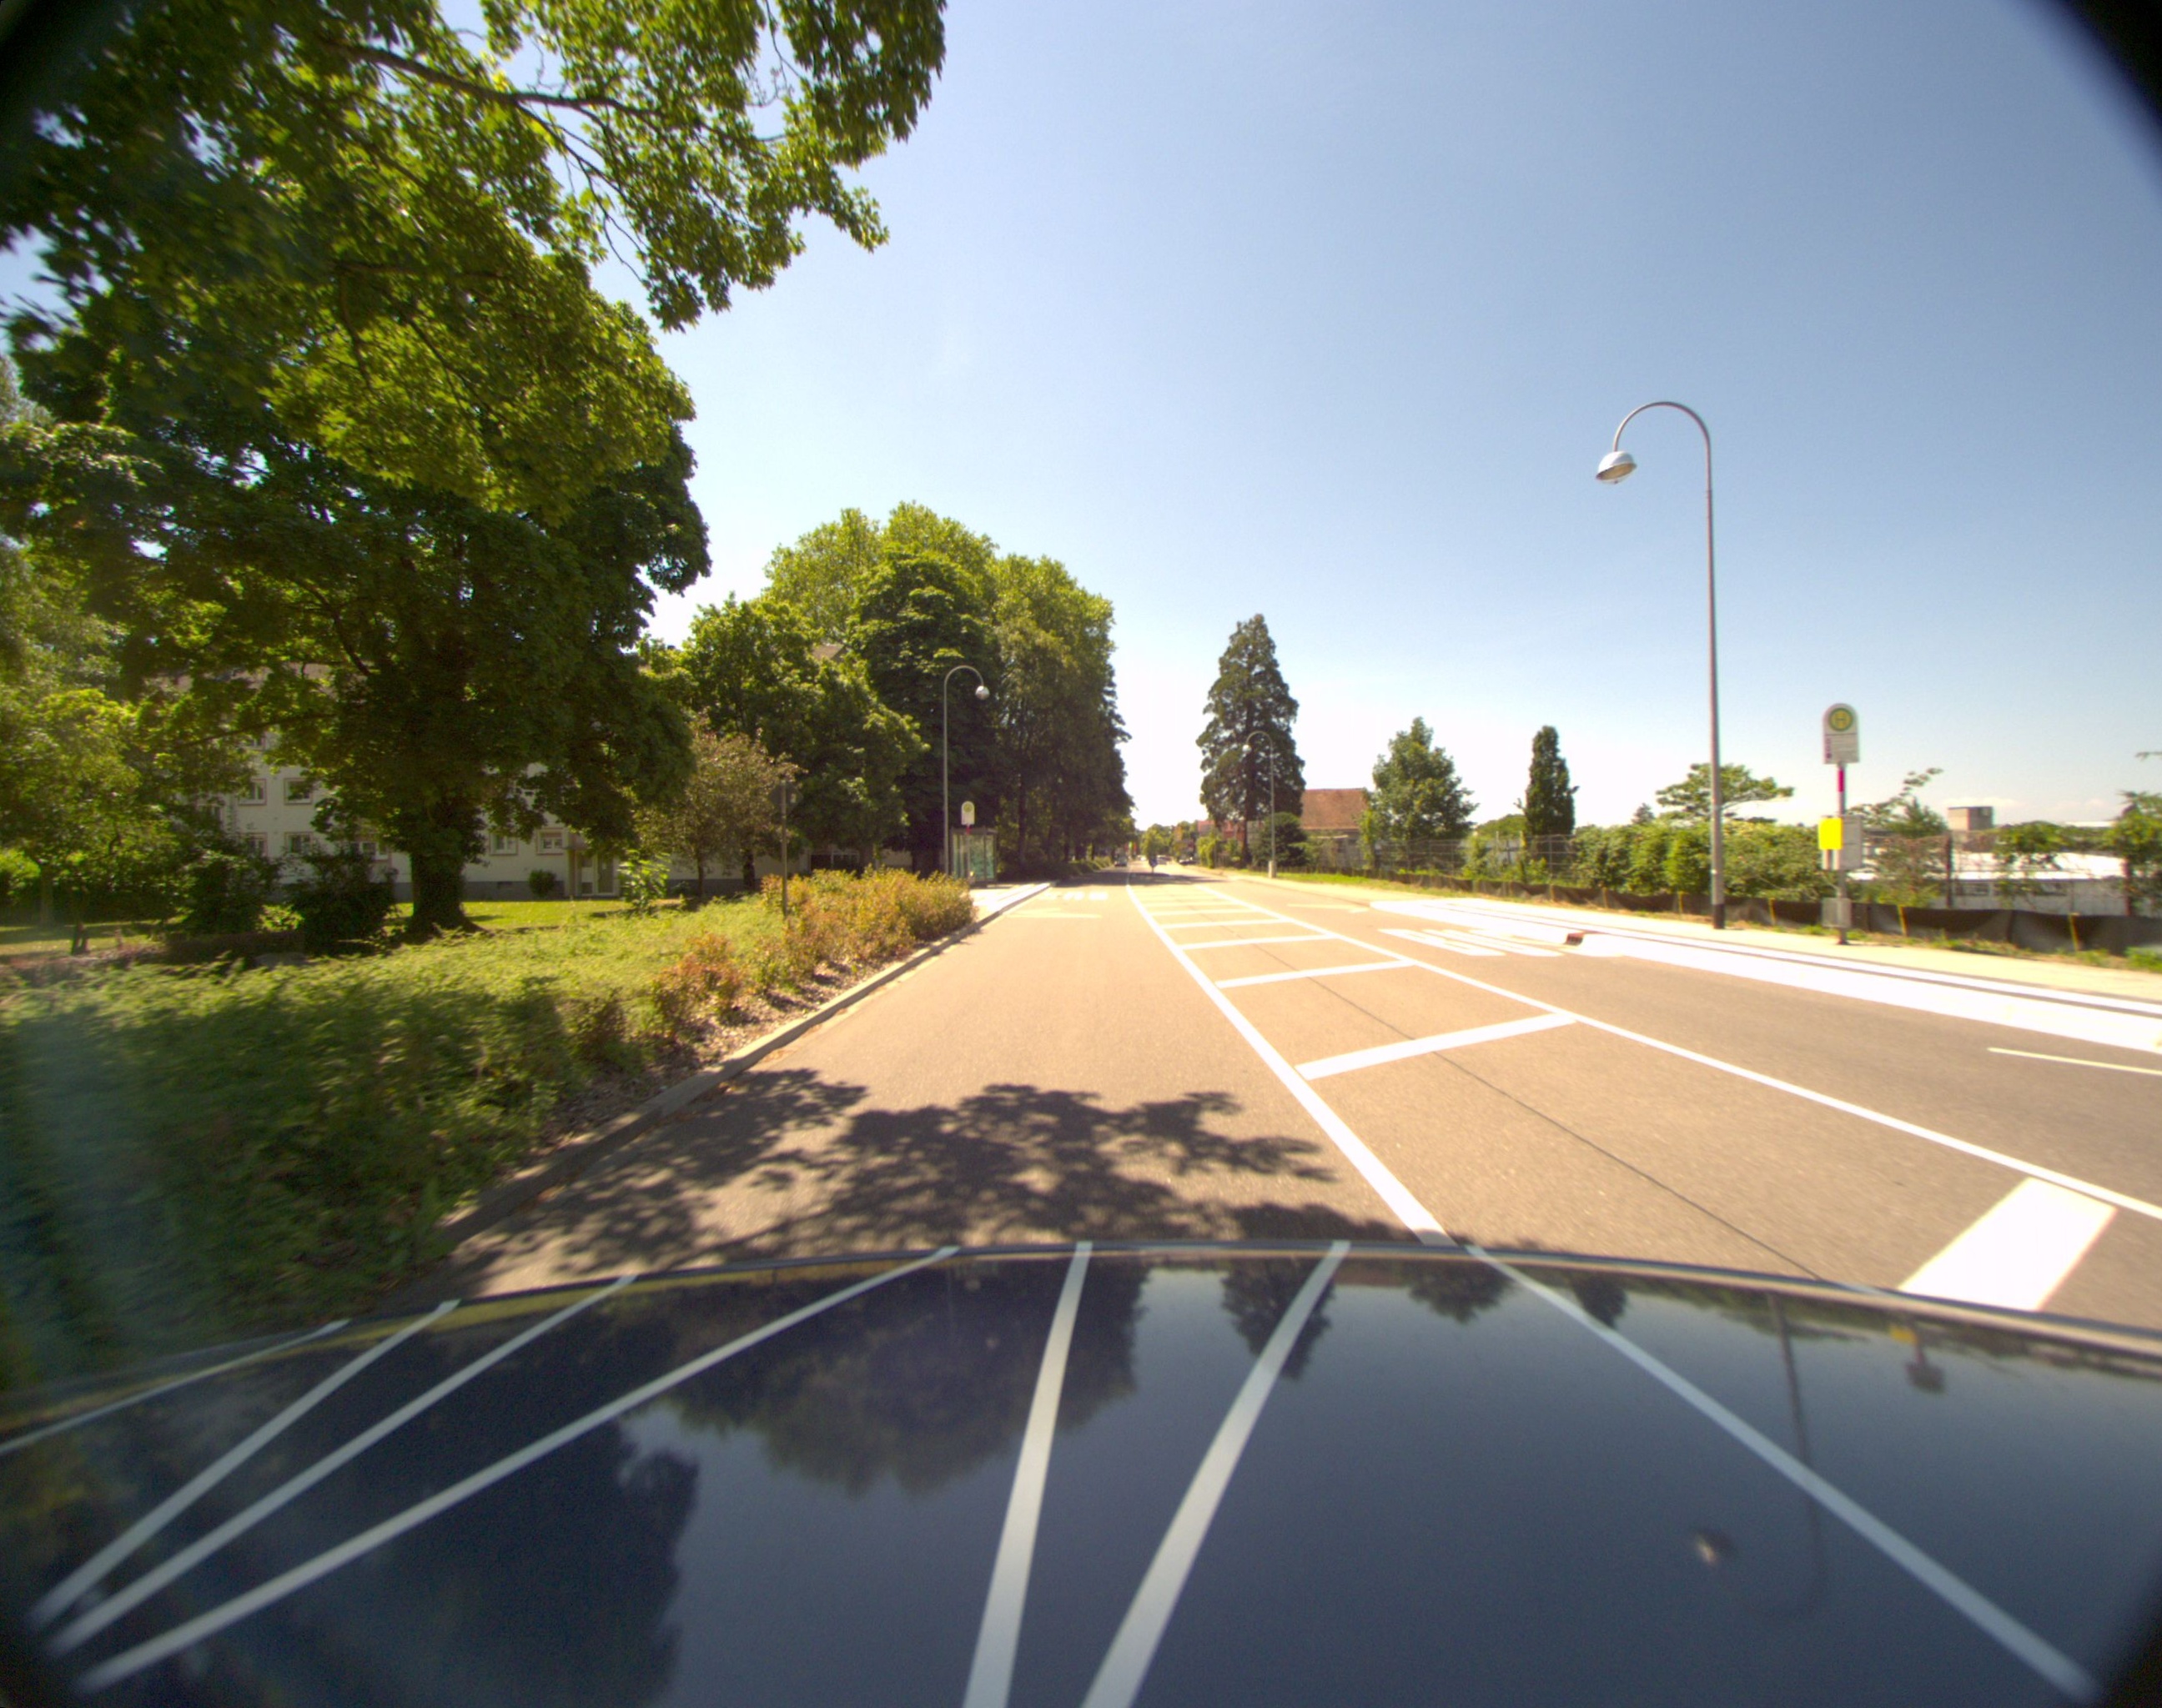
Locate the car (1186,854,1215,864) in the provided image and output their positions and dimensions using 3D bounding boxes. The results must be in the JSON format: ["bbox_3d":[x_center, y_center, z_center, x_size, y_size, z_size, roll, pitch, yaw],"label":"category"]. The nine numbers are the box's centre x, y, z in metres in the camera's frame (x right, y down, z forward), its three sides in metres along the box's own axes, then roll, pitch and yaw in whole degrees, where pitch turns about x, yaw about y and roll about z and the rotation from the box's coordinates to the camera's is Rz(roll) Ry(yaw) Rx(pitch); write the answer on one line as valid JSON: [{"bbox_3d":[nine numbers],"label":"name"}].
[{"bbox_3d":[19.291,0.749,122.854,4.310,1.540,1.888,0,0,22],"label":"car"}]

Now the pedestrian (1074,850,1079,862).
[{"bbox_3d":[-0.764,0.336,125.337,0.677,1.914,0.621,-1,1,4],"label":"pedestrian"}]

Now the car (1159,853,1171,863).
[{"bbox_3d":[14.574,0.734,132.553,1.787,1.635,4.690,1,0,2],"label":"car"}]

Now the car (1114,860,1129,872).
[{"bbox_3d":[5.776,1.652,106.926,1.883,1.623,4.322,0,0,6],"label":"car"}]
